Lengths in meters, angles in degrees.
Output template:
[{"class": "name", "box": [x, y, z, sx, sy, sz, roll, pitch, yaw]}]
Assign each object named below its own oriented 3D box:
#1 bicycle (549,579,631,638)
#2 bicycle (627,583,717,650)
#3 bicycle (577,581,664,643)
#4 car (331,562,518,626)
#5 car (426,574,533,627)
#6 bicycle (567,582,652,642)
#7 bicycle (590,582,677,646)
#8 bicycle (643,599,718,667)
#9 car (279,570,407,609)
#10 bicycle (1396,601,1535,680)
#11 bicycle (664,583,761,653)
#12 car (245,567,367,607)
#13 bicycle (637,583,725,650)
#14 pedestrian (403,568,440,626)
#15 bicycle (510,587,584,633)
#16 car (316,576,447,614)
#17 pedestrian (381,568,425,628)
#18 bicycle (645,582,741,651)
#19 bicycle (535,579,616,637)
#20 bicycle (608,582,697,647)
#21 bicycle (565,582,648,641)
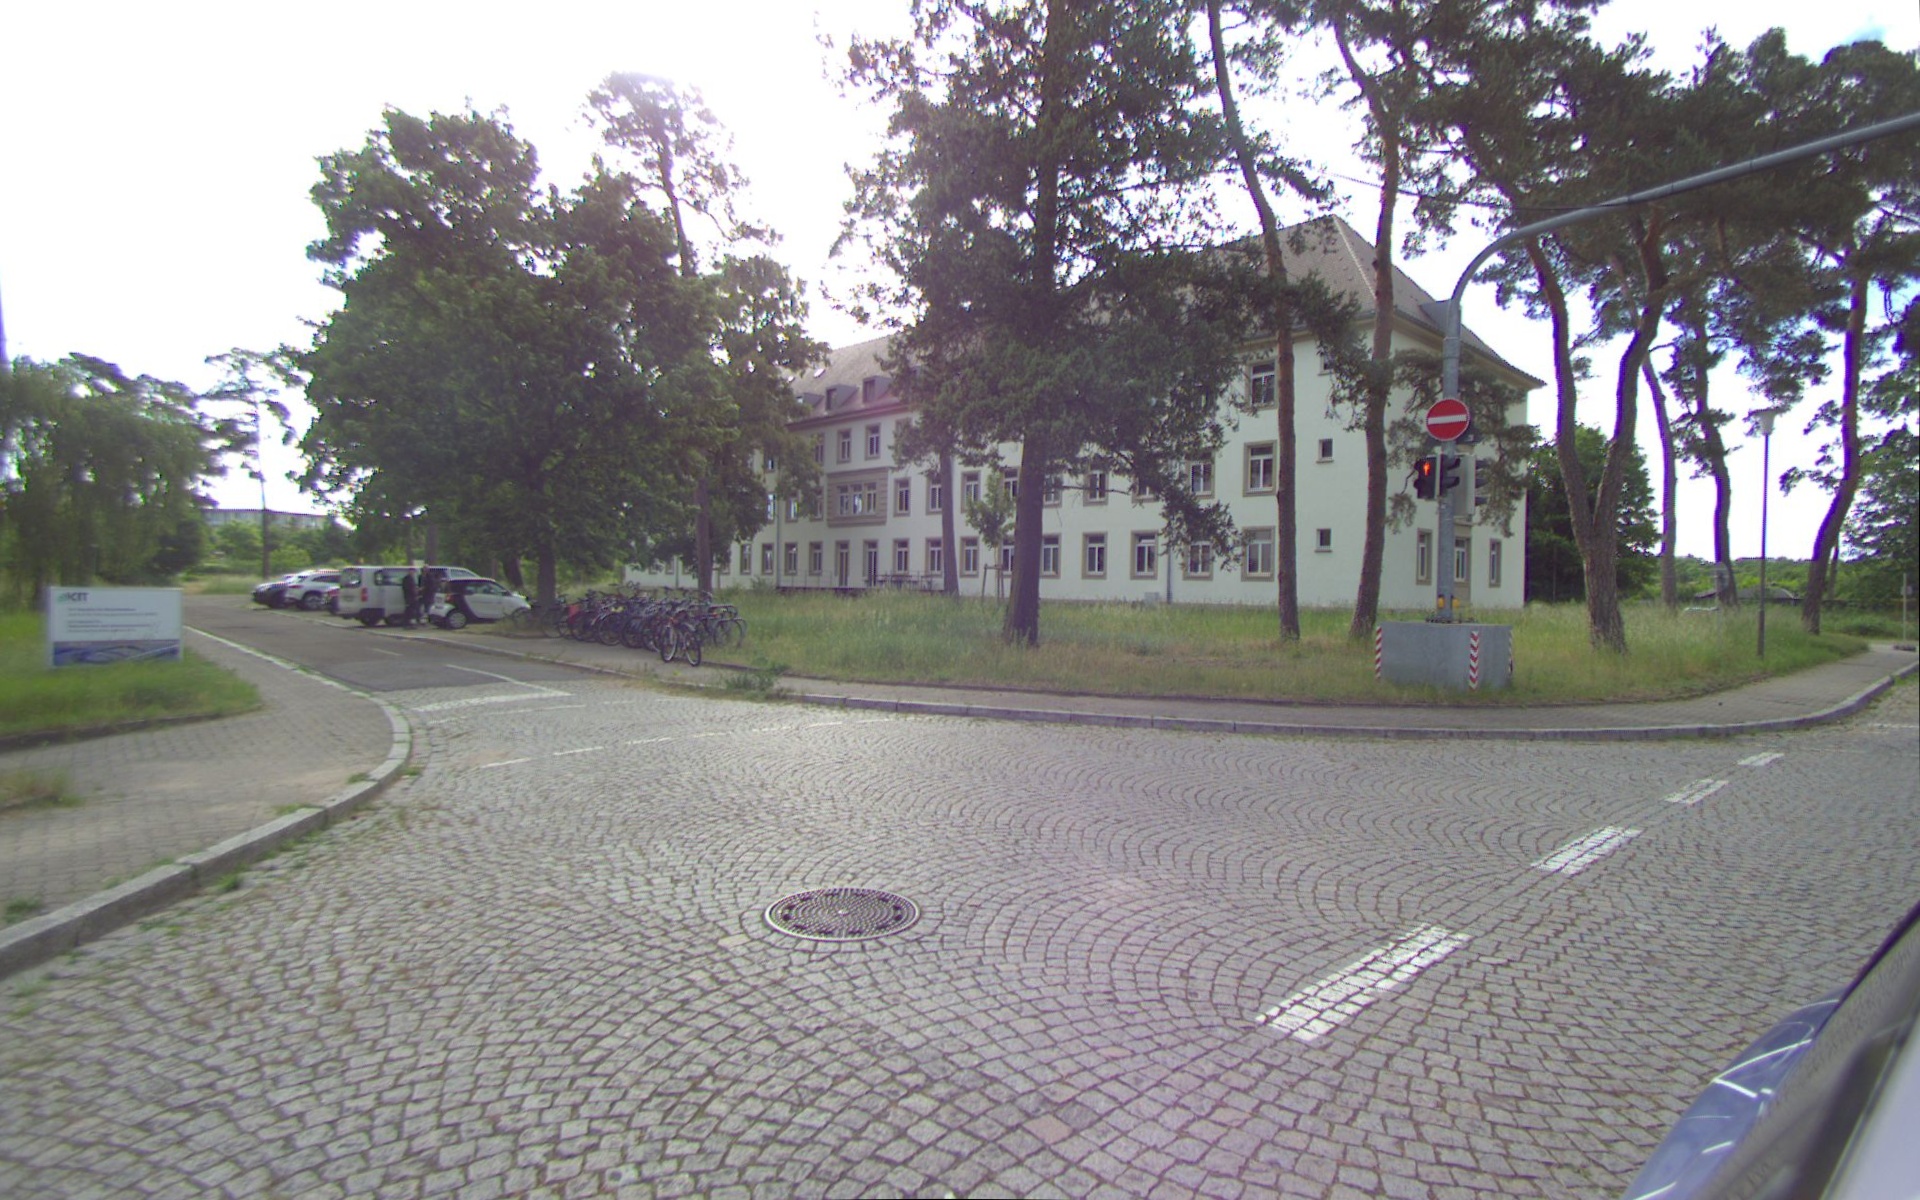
[{"class": "bicycle", "box": [-8.906, 0.193, 24.411, 0.570, 1.348, 1.810, 1, 1, 41]}, {"class": "bicycle", "box": [-6.082, 0.327, 21.432, 0.570, 1.348, 1.810, 1, 1, 41]}, {"class": "bicycle", "box": [-7.669, 0.262, 22.930, 0.570, 1.348, 1.810, 1, 1, 41]}, {"class": "car", "box": [-17.260, -0.202, 32.799, 5.032, 1.908, 1.996, 0, 1, -44]}, {"class": "car", "box": [-14.731, 0.003, 31.060, 2.648, 1.527, 1.473, 0, 1, -44]}, {"class": "bicycle", "box": [-8.124, 0.263, 23.494, 0.570, 1.348, 1.810, 1, 1, 41]}, {"class": "bicycle", "box": [-7.250, 0.298, 22.556, 0.570, 1.348, 1.810, 1, 1, 41]}, {"class": "bicycle", "box": [-4.984, 0.550, 17.972, 0.563, 1.098, 1.836, -2, 2, -39]}, {"class": "car", "box": [-26.587, -0.449, 43.705, 1.773, 1.612, 4.396, 1, 1, 44]}, {"class": "bicycle", "box": [7.738, 0.585, 15.548, 0.563, 1.098, 1.833, -2, 2, -44]}, {"class": "bicycle", "box": [-4.958, 0.347, 20.357, 1.803, 1.348, 0.573, 1, 0, -36]}, {"class": "car", "box": [-29.336, -0.587, 45.461, 4.314, 1.739, 1.996, 0, 1, -44]}, {"class": "bicycle", "box": [-5.796, 0.326, 21.108, 0.480, 1.348, 1.810, 1, 1, 41]}, {"class": "pedestrian", "box": [-16.757, -0.105, 31.470, 0.864, 1.759, 0.799, 1, 0, -39]}, {"class": "bicycle", "box": [-11.217, 0.266, 27.520, 0.570, 1.201, 1.811, 1, 1, 40]}, {"class": "car", "box": [-22.676, -0.200, 39.772, 1.689, 1.433, 4.184, 1, 1, 44]}, {"class": "pedestrian", "box": [-16.507, -0.062, 30.008, 0.867, 1.759, 0.822, 1, 0, -4]}, {"class": "bicycle", "box": [-5.466, 0.325, 20.736, 1.803, 1.348, 0.573, 1, 0, -36]}, {"class": "bicycle", "box": [-9.439, 0.186, 24.882, 0.570, 1.348, 1.810, 1, 1, 41]}, {"class": "bicycle", "box": [-6.647, 0.295, 21.948, 0.570, 1.348, 1.810, 1, 1, 41]}, {"class": "bicycle", "box": [-8.397, 0.264, 24.078, 0.570, 1.348, 1.810, 1, 1, 41]}]
